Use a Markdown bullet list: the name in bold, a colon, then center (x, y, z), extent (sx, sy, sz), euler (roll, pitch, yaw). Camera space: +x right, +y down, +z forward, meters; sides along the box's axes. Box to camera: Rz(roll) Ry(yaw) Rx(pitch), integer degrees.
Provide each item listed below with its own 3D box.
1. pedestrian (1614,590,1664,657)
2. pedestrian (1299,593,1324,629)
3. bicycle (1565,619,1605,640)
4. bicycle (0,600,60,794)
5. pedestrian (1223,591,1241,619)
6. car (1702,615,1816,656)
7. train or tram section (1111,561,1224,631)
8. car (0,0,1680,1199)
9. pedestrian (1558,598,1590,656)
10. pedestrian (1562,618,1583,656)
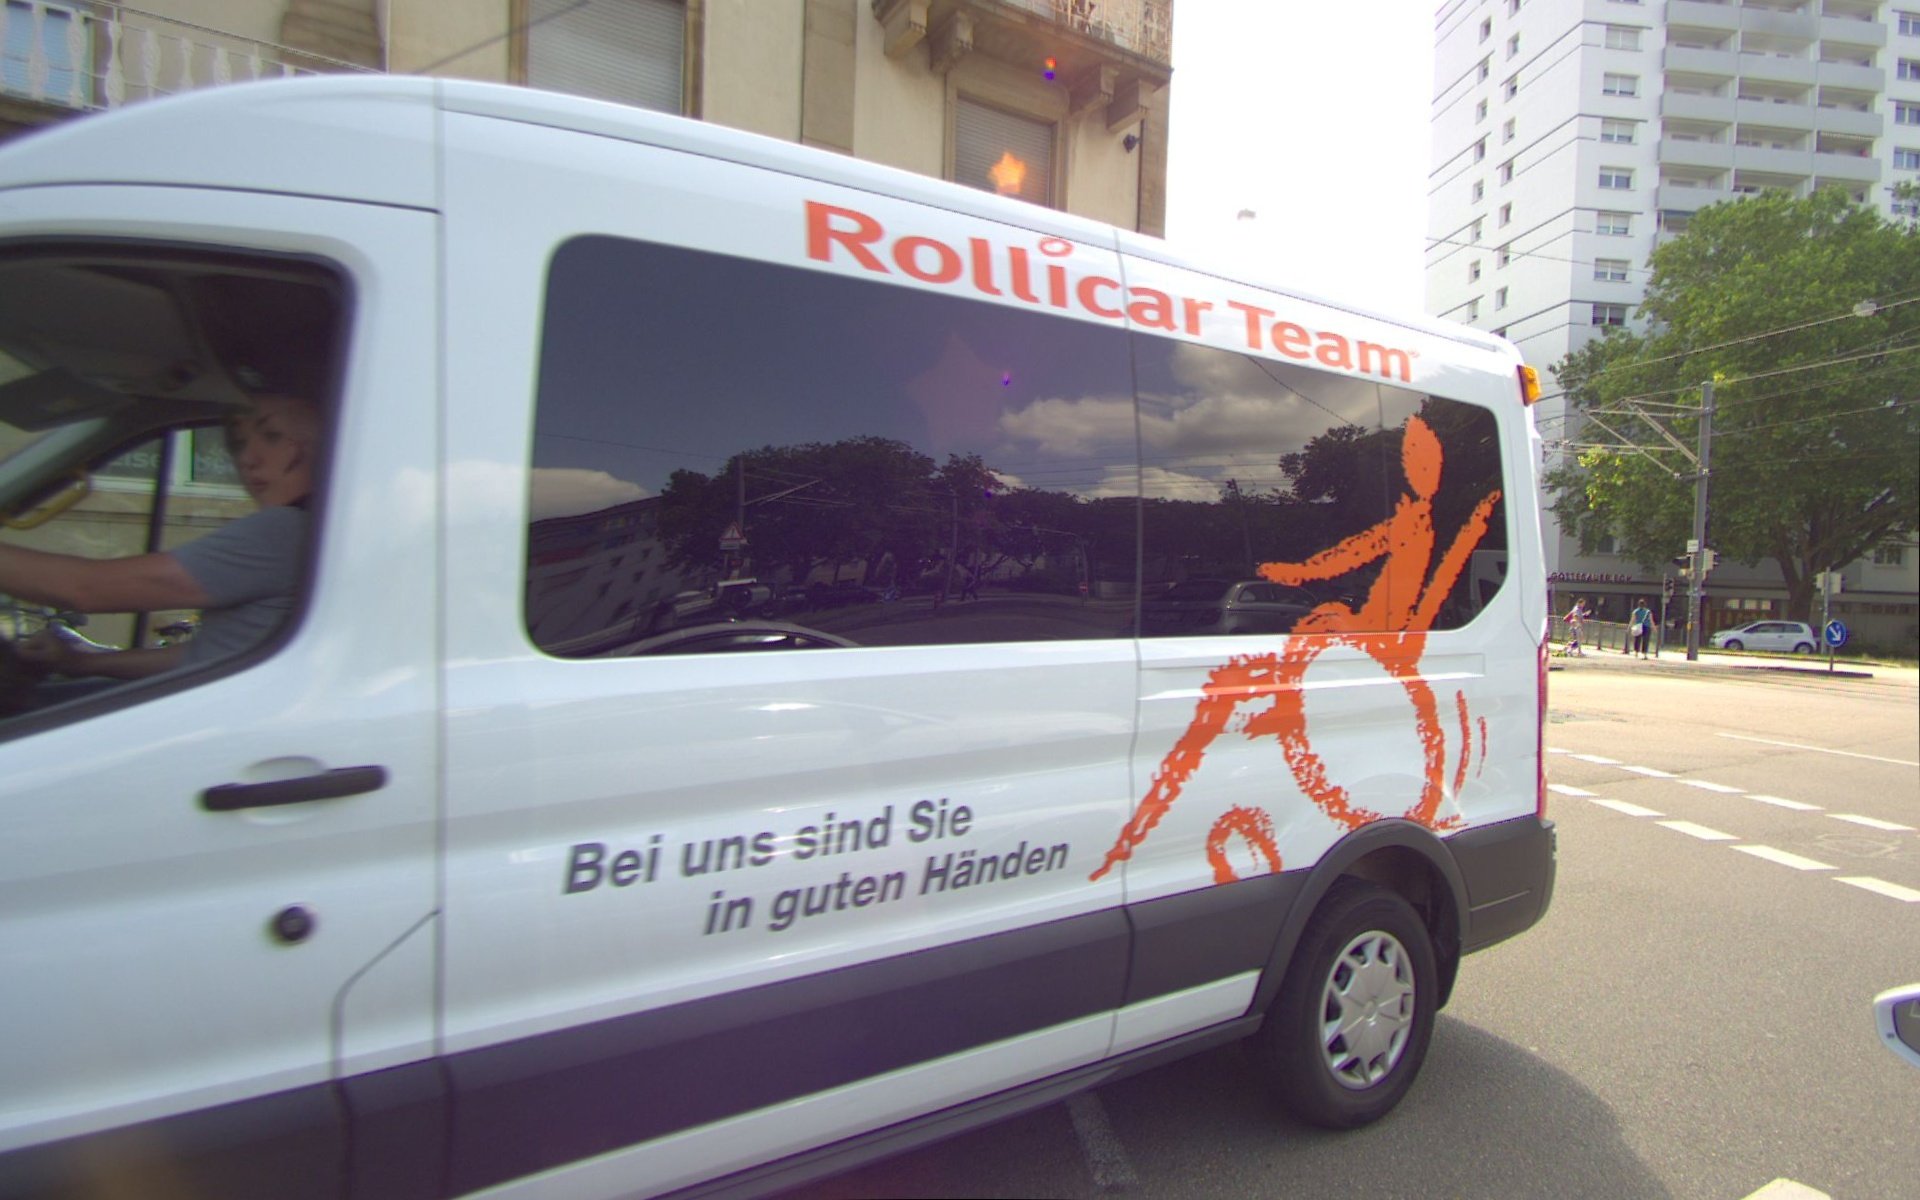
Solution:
- **pedestrian**: center (19.909, 0.682, 29.463), extent (0.814, 1.924, 0.845), euler (2, 0, -6)
- **pedestrian**: center (18.197, 0.573, 52.032), extent (0.835, 1.804, 1.044), euler (2, 1, -6)
- **bicycle**: center (33.088, 1.576, 53.187), extent (1.695, 1.023, 0.534), euler (2, 1, 21)
- **bicycle**: center (-5.706, 0.581, 5.636), extent (0.474, 1.066, 1.573), euler (1, 3, -22)
- **pedestrian**: center (17.550, 0.315, 64.866), extent (0.844, 1.798, 0.876), euler (2, 0, -6)
- **car**: center (34.416, 1.493, 43.361), extent (3.506, 1.564, 1.557), euler (2, 0, 22)
- **train or tram section**: center (12.146, -0.279, 60.641), extent (2.764, 3.632, 13.002), euler (2, 0, -6)
- **car**: center (-0.410, 0.280, 2.966), extent (5.878, 2.477, 2.065), euler (0, 0, -32)
- **pedestrian**: center (18.247, 0.792, 29.867), extent (0.613, 1.688, 0.676), euler (1, 0, 16)
- **pedestrian**: center (17.876, 1.074, 29.325), extent (0.412, 1.077, 0.437), euler (2, 1, 18)
